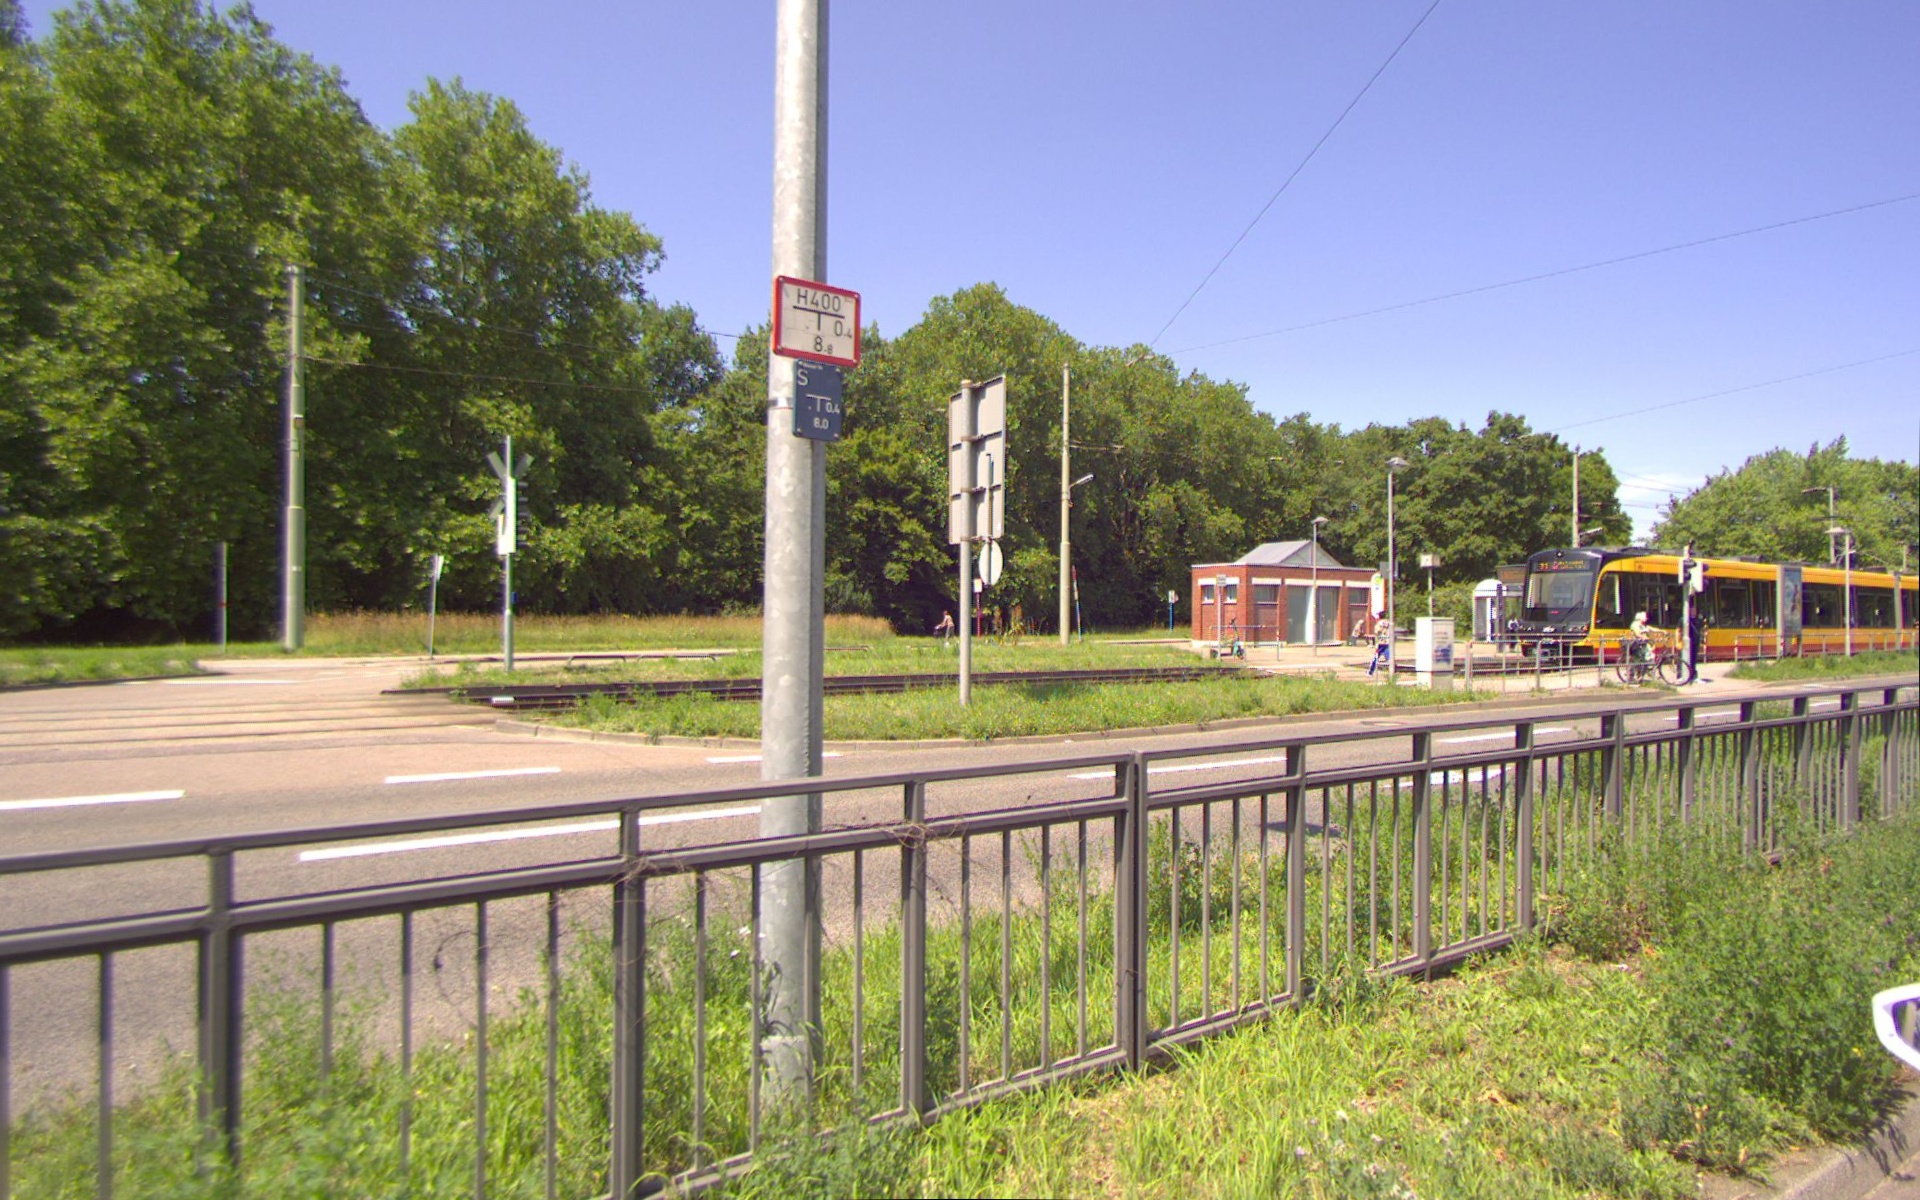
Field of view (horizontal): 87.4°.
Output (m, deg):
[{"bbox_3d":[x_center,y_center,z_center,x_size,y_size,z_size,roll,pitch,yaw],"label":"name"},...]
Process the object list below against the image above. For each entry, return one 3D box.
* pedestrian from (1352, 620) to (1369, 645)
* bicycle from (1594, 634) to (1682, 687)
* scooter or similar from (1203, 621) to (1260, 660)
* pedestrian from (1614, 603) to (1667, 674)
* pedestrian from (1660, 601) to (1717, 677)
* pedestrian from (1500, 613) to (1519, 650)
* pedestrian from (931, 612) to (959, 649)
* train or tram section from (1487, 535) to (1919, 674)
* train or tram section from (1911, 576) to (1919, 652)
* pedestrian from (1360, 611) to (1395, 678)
[{"bbox_3d":[17.055,1.390,42.777,0.516,1.032,0.479,1,0,-30],"label":"pedestrian"},{"bbox_3d":[16.214,1.418,24.064,0.239,1.172,1.857,1,0,-26],"label":"bicycle"},{"bbox_3d":[8.286,1.224,30.724,1.639,1.142,0.613,1,0,13],"label":"scooter or similar"},{"bbox_3d":[16.315,0.913,24.089,0.696,1.650,0.816,1,0,-26],"label":"pedestrian"},{"bbox_3d":[17.980,0.947,24.802,0.691,1.821,0.961,1,0,-3],"label":"pedestrian"},{"bbox_3d":[22.207,1.276,40.589,0.520,1.455,0.458,1,0,-34],"label":"pedestrian"},{"bbox_3d":[-0.708,1.466,48.312,1.245,1.724,0.517,1,0,13],"label":"pedestrian"},{"bbox_3d":[31.713,0.394,38.031,37.105,3.717,2.772,1,0,-33],"label":"train or tram section"},{"bbox_3d":[58.155,0.877,54.919,25.713,3.717,2.772,1,0,-33],"label":"train or tram section"},{"bbox_3d":[9.951,1.048,23.963,0.527,1.561,0.869,0,0,3],"label":"pedestrian"}]
